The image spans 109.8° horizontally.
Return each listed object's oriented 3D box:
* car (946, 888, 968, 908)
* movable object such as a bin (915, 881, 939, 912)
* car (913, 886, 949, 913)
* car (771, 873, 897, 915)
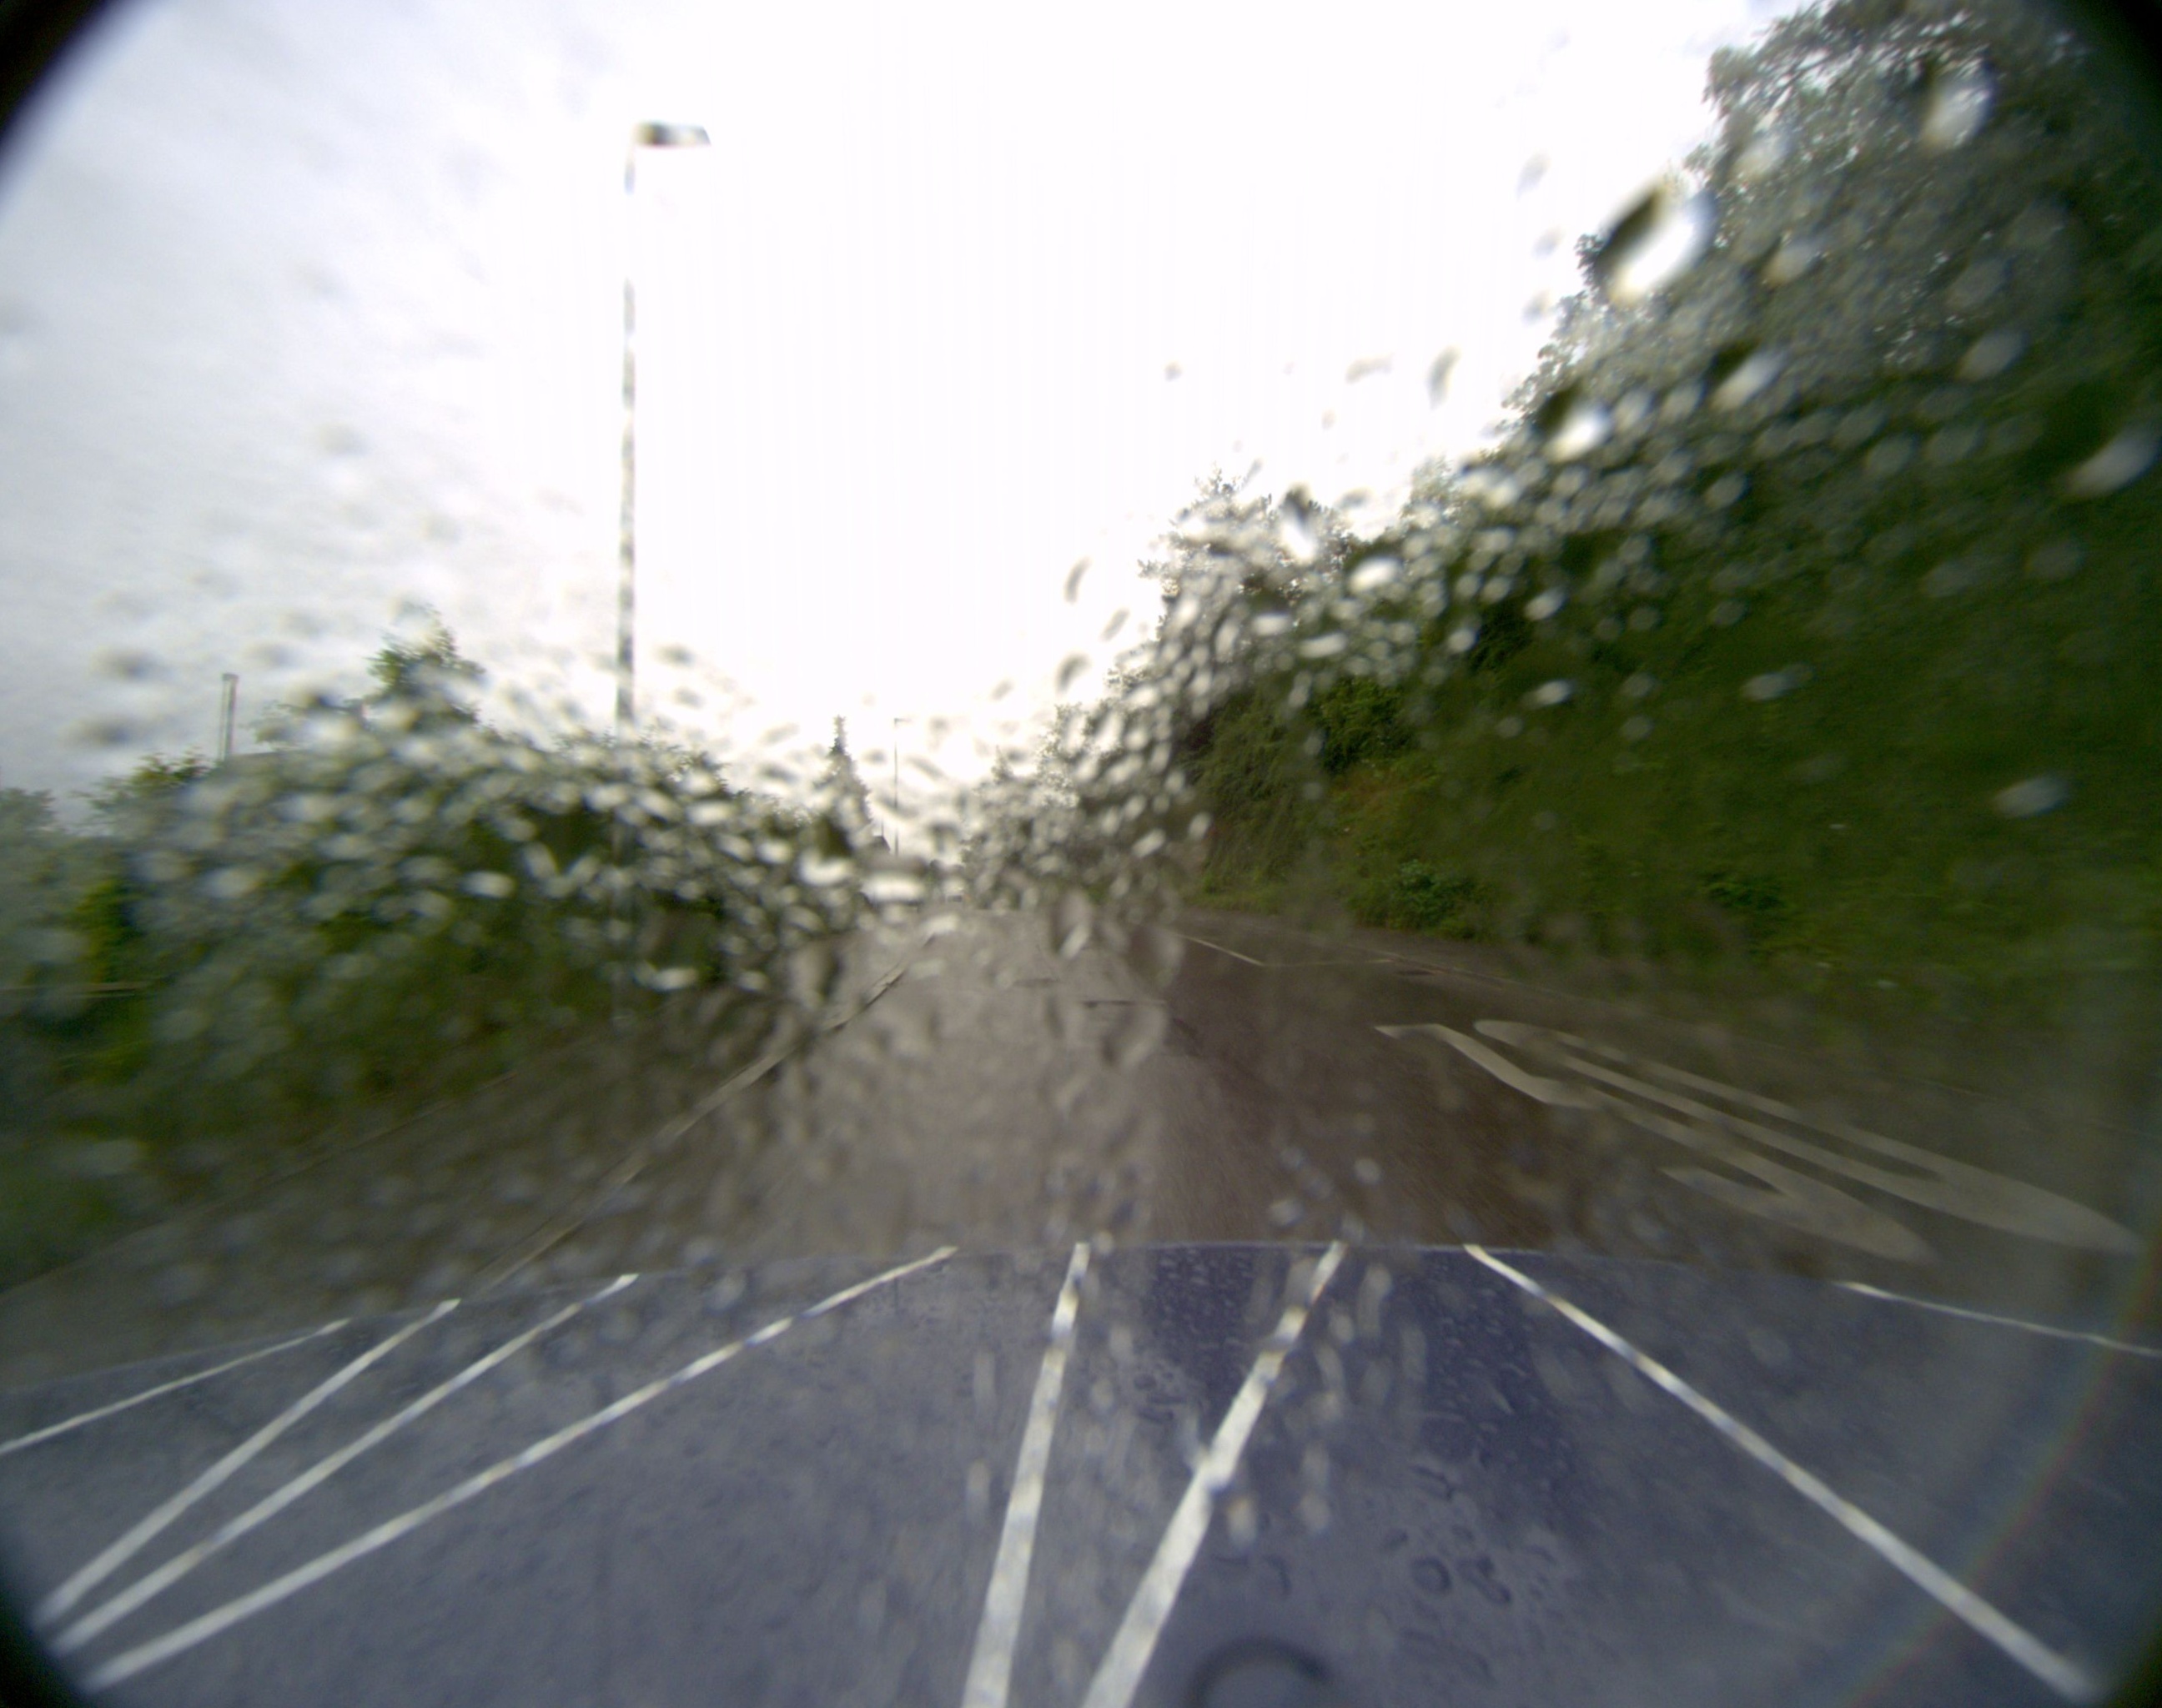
[{"bbox_3d":[-13.337,4.804,81.546,2.119,1.961,5.171,0,-5,-12],"label":"car"},{"bbox_3d":[-5.624,1.540,27.671,0.792,1.089,0.675,3,-3,-12],"label":"movable object such as a bin"},{"bbox_3d":[-9.764,2.952,49.137,1.882,1.581,4.477,0,-5,-16],"label":"car"},{"bbox_3d":[-9.415,1.541,29.248,4.228,1.406,1.941,-2,-2,-3],"label":"car"}]
